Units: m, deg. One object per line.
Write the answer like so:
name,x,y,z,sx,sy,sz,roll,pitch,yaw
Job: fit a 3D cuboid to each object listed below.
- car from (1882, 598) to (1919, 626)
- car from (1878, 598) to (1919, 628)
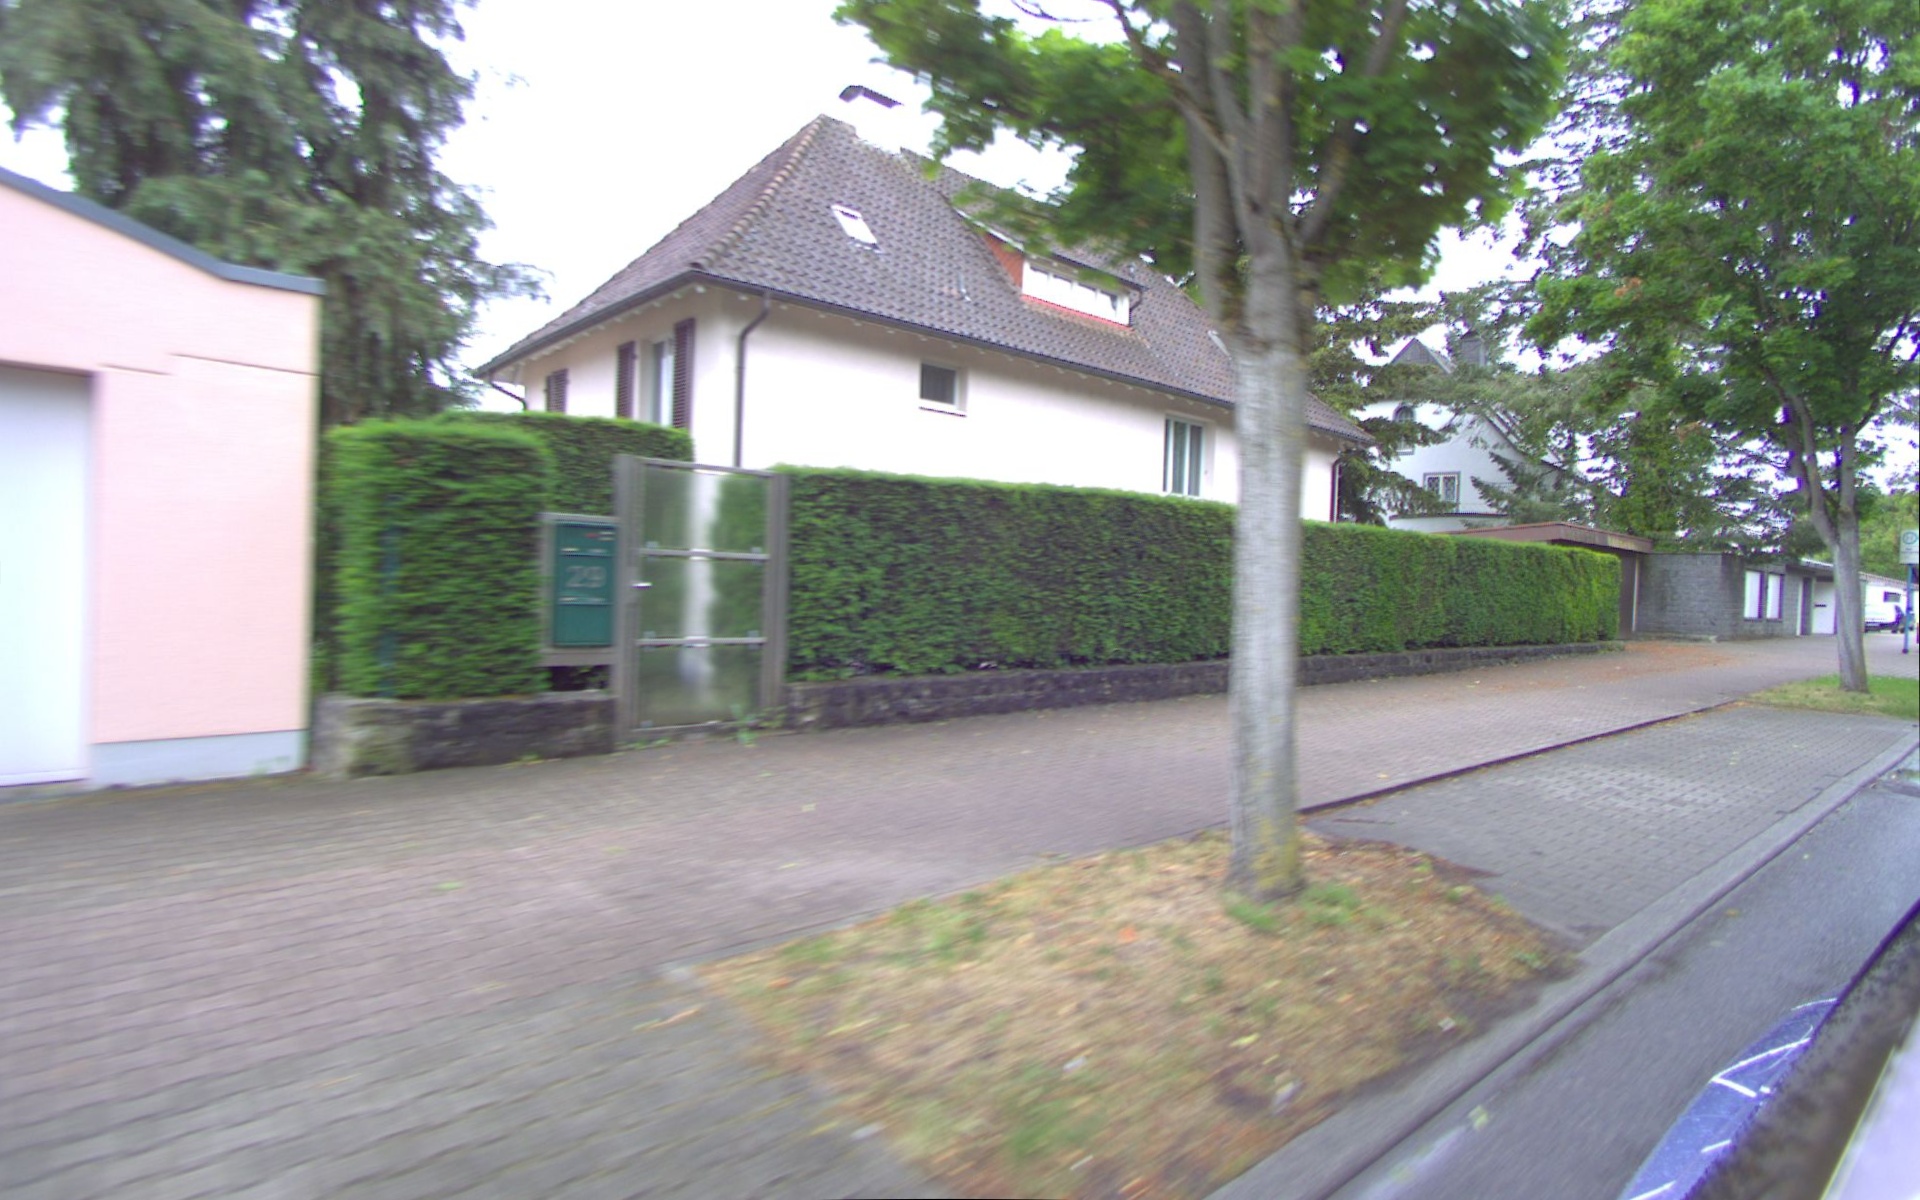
car,55.819,0.681,59.663,3.929,1.581,1.698,0,0,-40
car,46.817,0.630,50.021,3.929,1.440,1.665,1,0,-40
